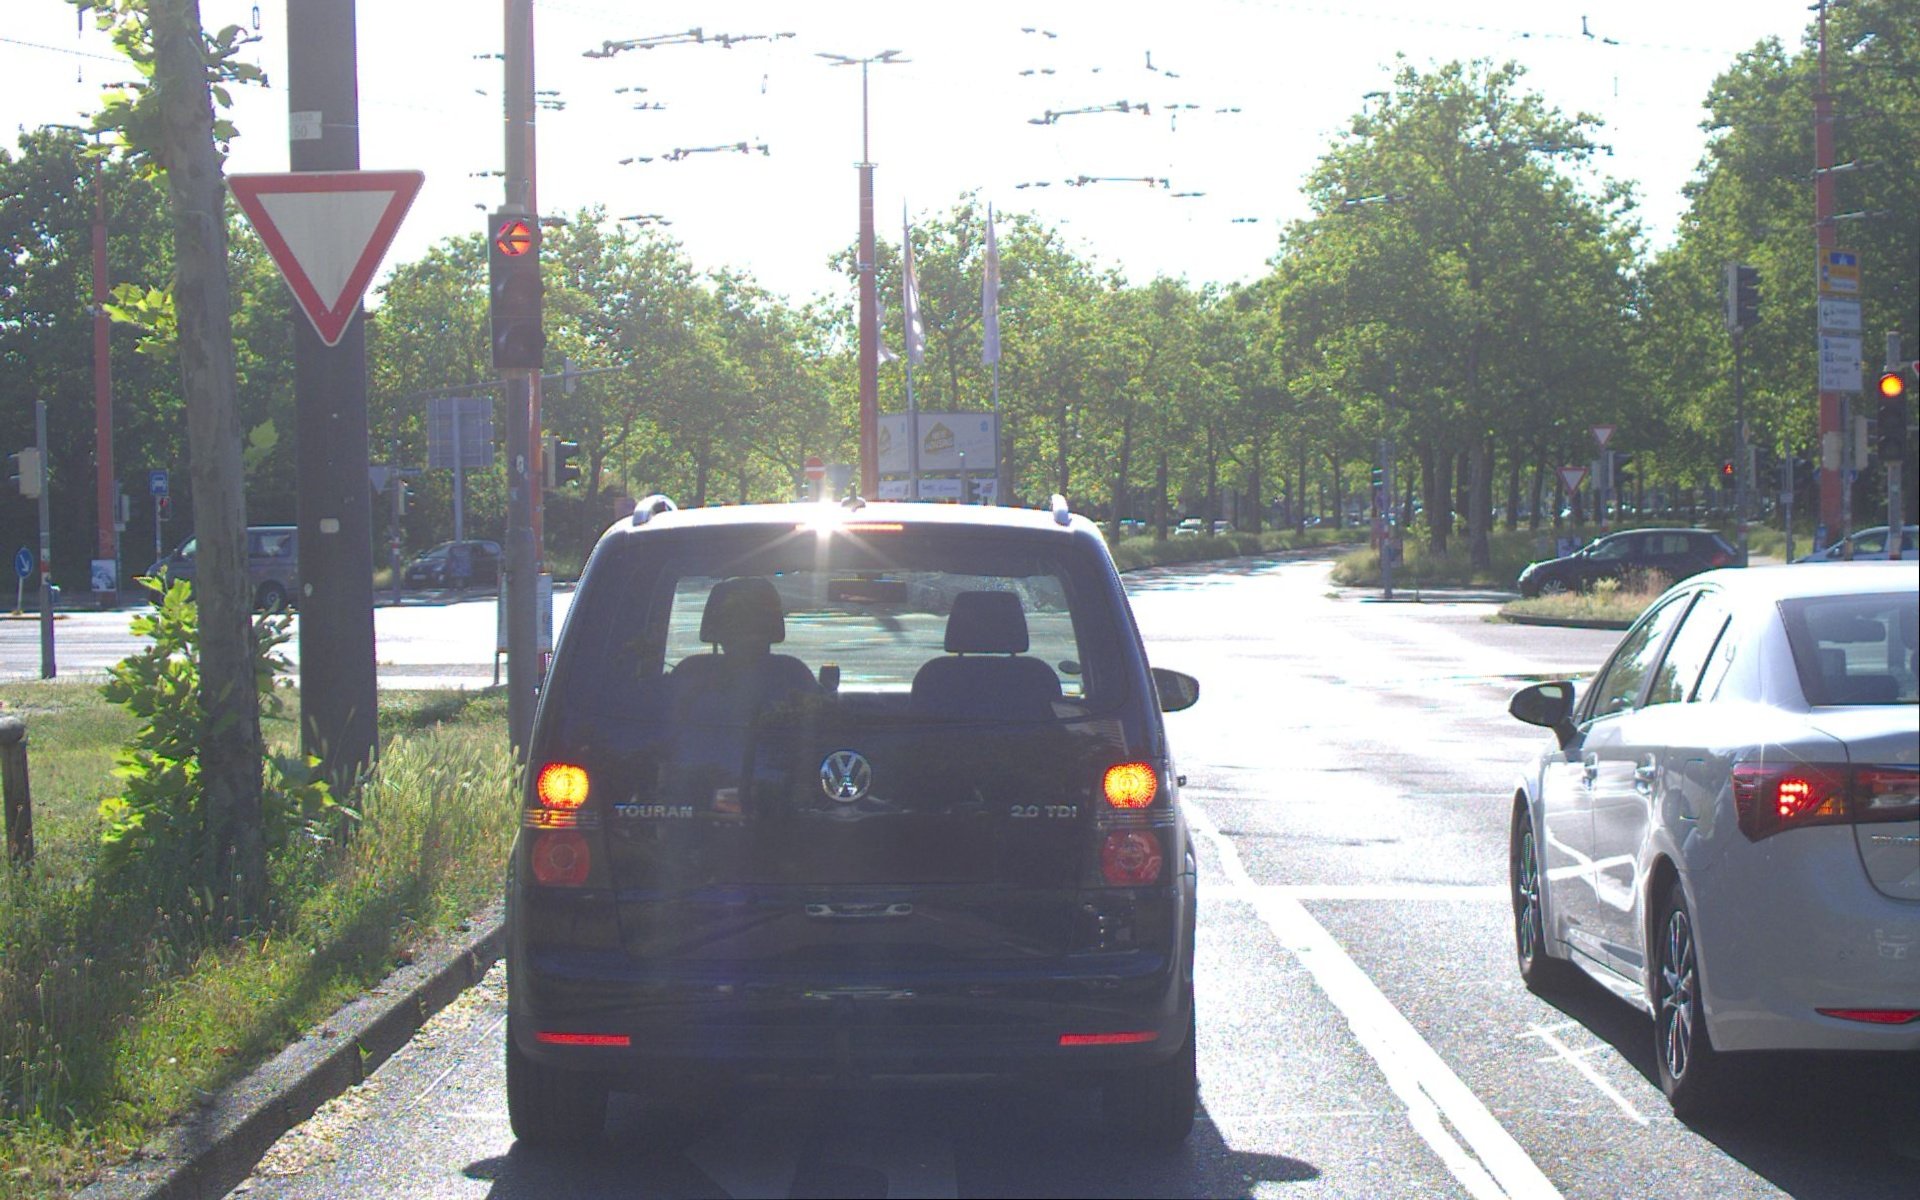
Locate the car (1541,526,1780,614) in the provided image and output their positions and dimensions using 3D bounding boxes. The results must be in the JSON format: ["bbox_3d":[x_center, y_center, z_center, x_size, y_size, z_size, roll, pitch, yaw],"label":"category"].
[{"bbox_3d":[12.991,-0.569,63.725,4.028,1.590,1.998,0,1,23],"label":"car"}]

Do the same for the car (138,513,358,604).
[{"bbox_3d":[-16.191,-0.945,78.154,4.576,2.007,1.997,0,1,24],"label":"car"}]

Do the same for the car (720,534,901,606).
[{"bbox_3d":[-3.060,-0.623,70.483,3.398,1.452,1.463,0,1,23],"label":"car"}]

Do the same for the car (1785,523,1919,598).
[{"bbox_3d":[17.497,-0.734,65.070,3.441,1.364,1.288,1,1,26],"label":"car"}]

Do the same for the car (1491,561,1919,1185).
[{"bbox_3d":[2.719,0.620,10.111,1.720,1.433,4.198,1,1,1],"label":"car"}]

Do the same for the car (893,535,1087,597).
[{"bbox_3d":[0.646,-0.728,73.913,3.833,1.260,1.601,1,1,23],"label":"car"}]

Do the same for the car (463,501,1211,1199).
[{"bbox_3d":[-0.310,0.552,9.815,1.700,1.616,3.897,0,1,-1],"label":"car"}]
